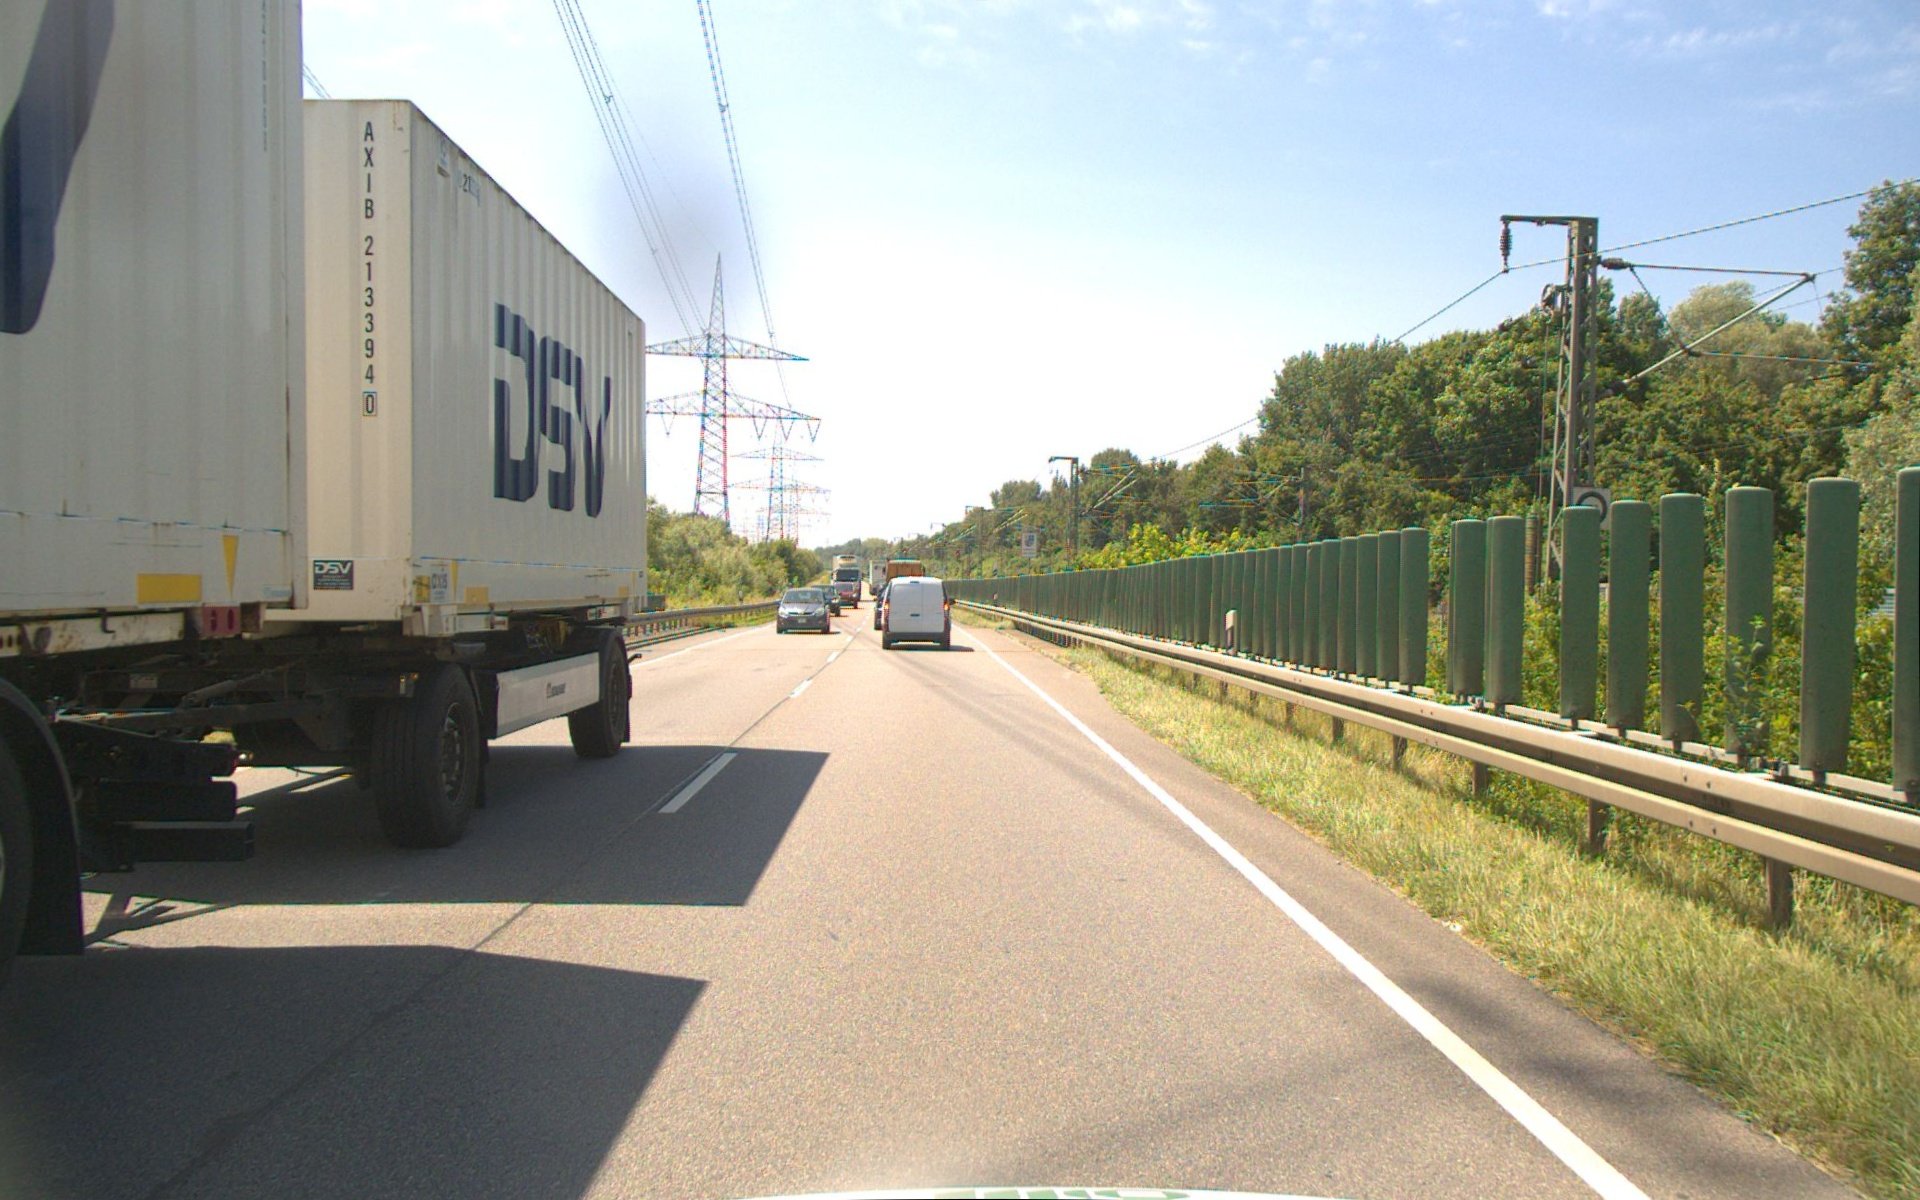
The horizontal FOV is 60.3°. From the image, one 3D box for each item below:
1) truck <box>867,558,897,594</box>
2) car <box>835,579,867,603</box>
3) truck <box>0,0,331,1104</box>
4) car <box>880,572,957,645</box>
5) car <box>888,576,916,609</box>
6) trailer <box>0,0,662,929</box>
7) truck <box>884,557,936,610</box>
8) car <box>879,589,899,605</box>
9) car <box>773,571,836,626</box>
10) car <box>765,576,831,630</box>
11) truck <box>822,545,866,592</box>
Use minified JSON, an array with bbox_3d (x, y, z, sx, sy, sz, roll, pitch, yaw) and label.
[{"bbox_3d":[-9.464,-3.010,199.732,3.335,3.921,16.809,4,1,-3],"label":"truck"},{"bbox_3d":[-7.141,-0.585,108.836,1.953,1.553,3.999,1,0,-2],"label":"car"},{"bbox_3d":[-3.974,-0.623,2.294,2.687,4.112,9.662,0,1,-1],"label":"truck"},{"bbox_3d":[-1.116,0.193,42.652,1.838,1.772,3.998,1,0,-3],"label":"car"},{"bbox_3d":[-3.677,-0.505,104.556,1.728,2.049,3.998,0,0,-2],"label":"car"},{"bbox_3d":[-4.194,-0.659,11.795,2.664,4.112,9.072,0,1,-1],"label":"trailer"},{"bbox_3d":[-3.562,-1.270,116.029,3.231,3.226,14.400,4,1,-2],"label":"truck"},{"bbox_3d":[-7.150,-0.328,167.100,1.954,1.553,3.998,1,0,-3],"label":"car"},{"bbox_3d":[-5.207,-0.080,55.871,1.954,1.772,3.998,1,0,-3],"label":"car"},{"bbox_3d":[-5.562,0.076,57.231,1.953,1.772,3.999,1,0,-2],"label":"car"},{"bbox_3d":[-10.746,-2.983,154.624,3.334,3.921,16.813,4,1,-2],"label":"truck"}]
